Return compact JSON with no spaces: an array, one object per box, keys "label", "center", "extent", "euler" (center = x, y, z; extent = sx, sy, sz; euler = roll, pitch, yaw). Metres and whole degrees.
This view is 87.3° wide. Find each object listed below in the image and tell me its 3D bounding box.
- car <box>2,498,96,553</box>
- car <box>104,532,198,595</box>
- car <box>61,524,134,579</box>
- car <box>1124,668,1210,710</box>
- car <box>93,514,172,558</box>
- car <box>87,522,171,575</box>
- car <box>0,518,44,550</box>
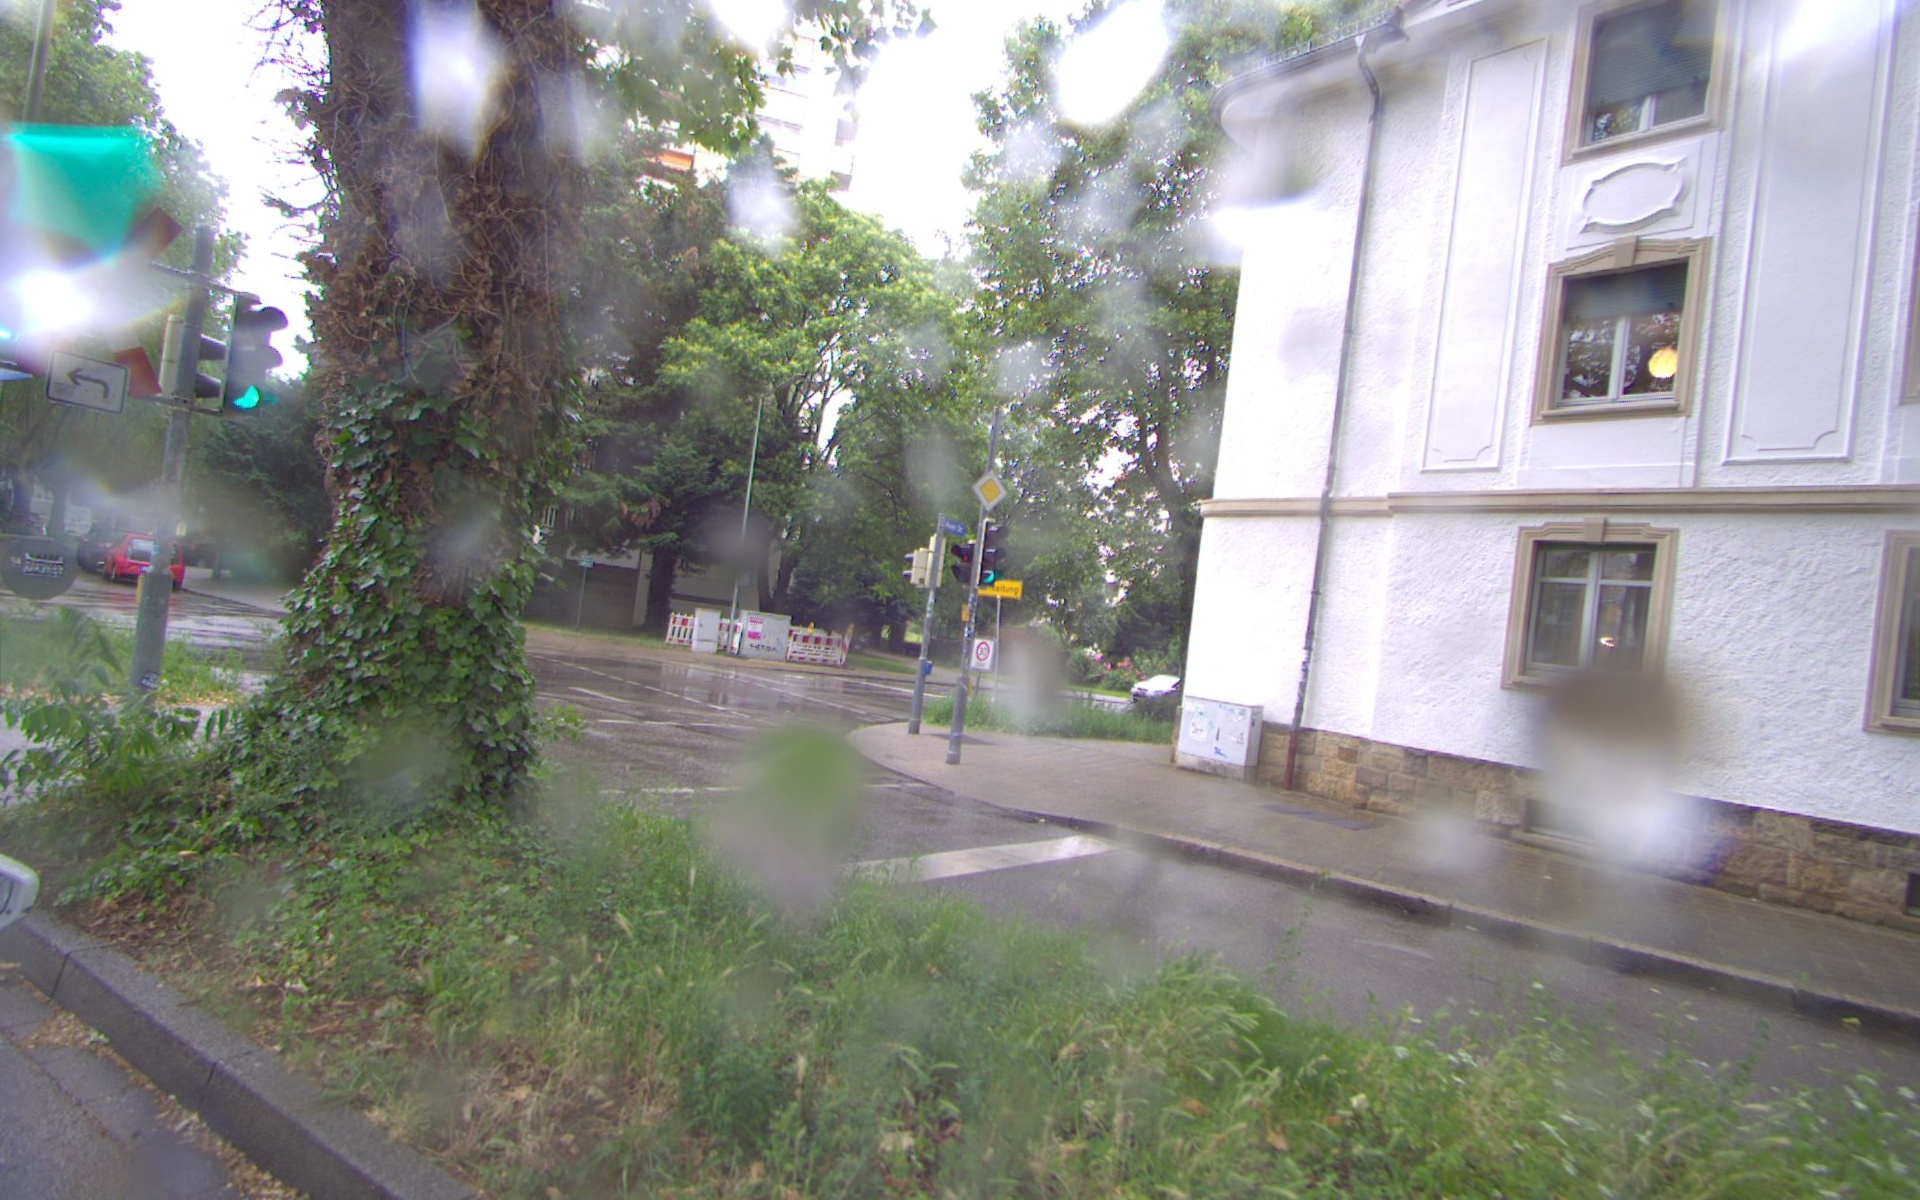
[{"label":"car","center":[-61.119,-4.994,67.491],"extent":[4.680,2.982,2.043],"euler":[7,-1,12]},{"label":"car","center":[-24.807,-1.143,30.806],"extent":[1.788,1.515,3.950],"euler":[9,-3,-44]},{"label":"car","center":[-32.965,-1.861,38.416],"extent":[1.779,1.747,3.951],"euler":[9,-2,-44]},{"label":"car","center":[9.449,4.054,45.772],"extent":[1.829,1.473,3.979],"euler":[5,-3,45]},{"label":"car","center":[-69.667,-5.372,84.771],"extent":[4.683,2.982,2.001],"euler":[7,-1,1]},{"label":"car","center":[-28.077,-1.751,33.963],"extent":[1.780,1.363,3.879],"euler":[10,-2,-44]},{"label":"car","center":[-56.205,-4.020,58.587],"extent":[1.974,1.565,3.980],"euler":[5,-3,44]}]
